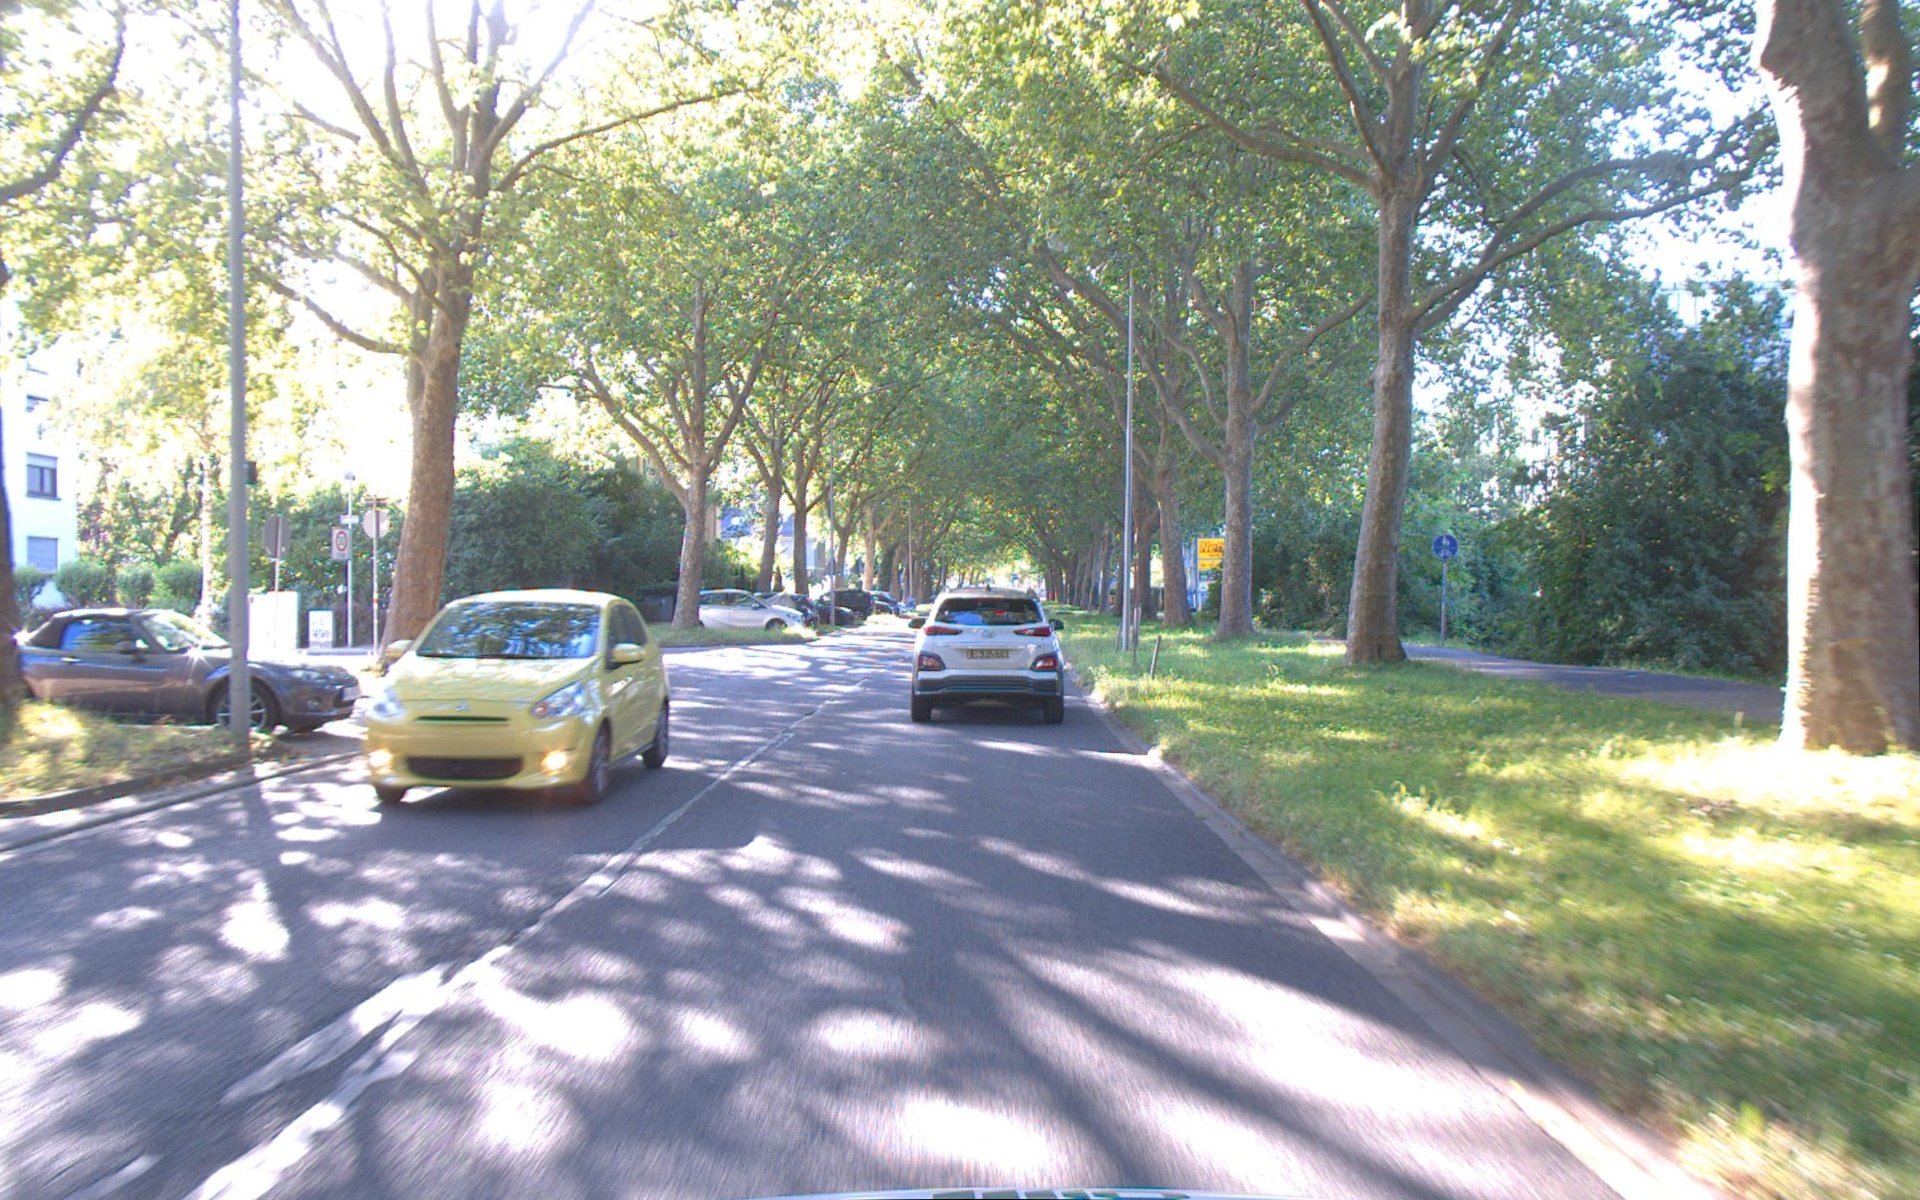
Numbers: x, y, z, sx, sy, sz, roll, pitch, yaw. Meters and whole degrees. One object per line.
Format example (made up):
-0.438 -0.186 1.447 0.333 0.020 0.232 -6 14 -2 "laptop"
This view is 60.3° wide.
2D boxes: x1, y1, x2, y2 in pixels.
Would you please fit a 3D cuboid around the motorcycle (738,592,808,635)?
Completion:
-6.374 0.461 56.561 2.338 1.412 0.648 0 0 -4 "motorcycle"

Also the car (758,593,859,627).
-6.451 0.415 70.806 4.153 1.376 1.741 -1 0 0 "car"

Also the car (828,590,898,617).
-5.642 0.201 96.507 3.905 1.496 1.781 0 0 1 "car"

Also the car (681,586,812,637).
-6.944 0.366 54.127 4.099 1.612 1.999 0 0 -3 "car"

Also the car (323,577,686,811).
-3.360 0.626 12.965 1.747 1.539 3.838 1 0 0 "car"

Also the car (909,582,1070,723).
0.281 0.581 20.540 1.798 1.583 3.999 0 0 -2 "car"

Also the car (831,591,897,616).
-5.705 0.196 98.737 3.907 1.449 1.808 0 0 -2 "car"

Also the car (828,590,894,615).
-6.074 0.139 101.696 3.905 1.546 1.809 0 0 1 "car"

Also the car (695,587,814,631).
-7.307 0.320 59.148 4.076 1.532 1.801 0 0 -2 "car"

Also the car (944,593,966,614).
-0.363 0.215 117.231 1.504 1.484 3.185 0 0 0 "car"

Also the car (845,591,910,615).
-5.150 0.192 104.061 3.903 1.496 1.810 0 0 3 "car"

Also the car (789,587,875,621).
-6.390 0.188 82.915 4.156 1.709 1.671 0 0 1 "car"

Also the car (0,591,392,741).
-7.965 0.631 16.771 3.748 1.339 1.789 2 0 -1 "car"

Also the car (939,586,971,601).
-0.627 -0.802 210.676 3.907 1.803 1.999 1 0 -3 "car"

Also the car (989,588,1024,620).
2.565 0.221 91.994 1.643 1.725 3.743 0 0 -3 "car"
